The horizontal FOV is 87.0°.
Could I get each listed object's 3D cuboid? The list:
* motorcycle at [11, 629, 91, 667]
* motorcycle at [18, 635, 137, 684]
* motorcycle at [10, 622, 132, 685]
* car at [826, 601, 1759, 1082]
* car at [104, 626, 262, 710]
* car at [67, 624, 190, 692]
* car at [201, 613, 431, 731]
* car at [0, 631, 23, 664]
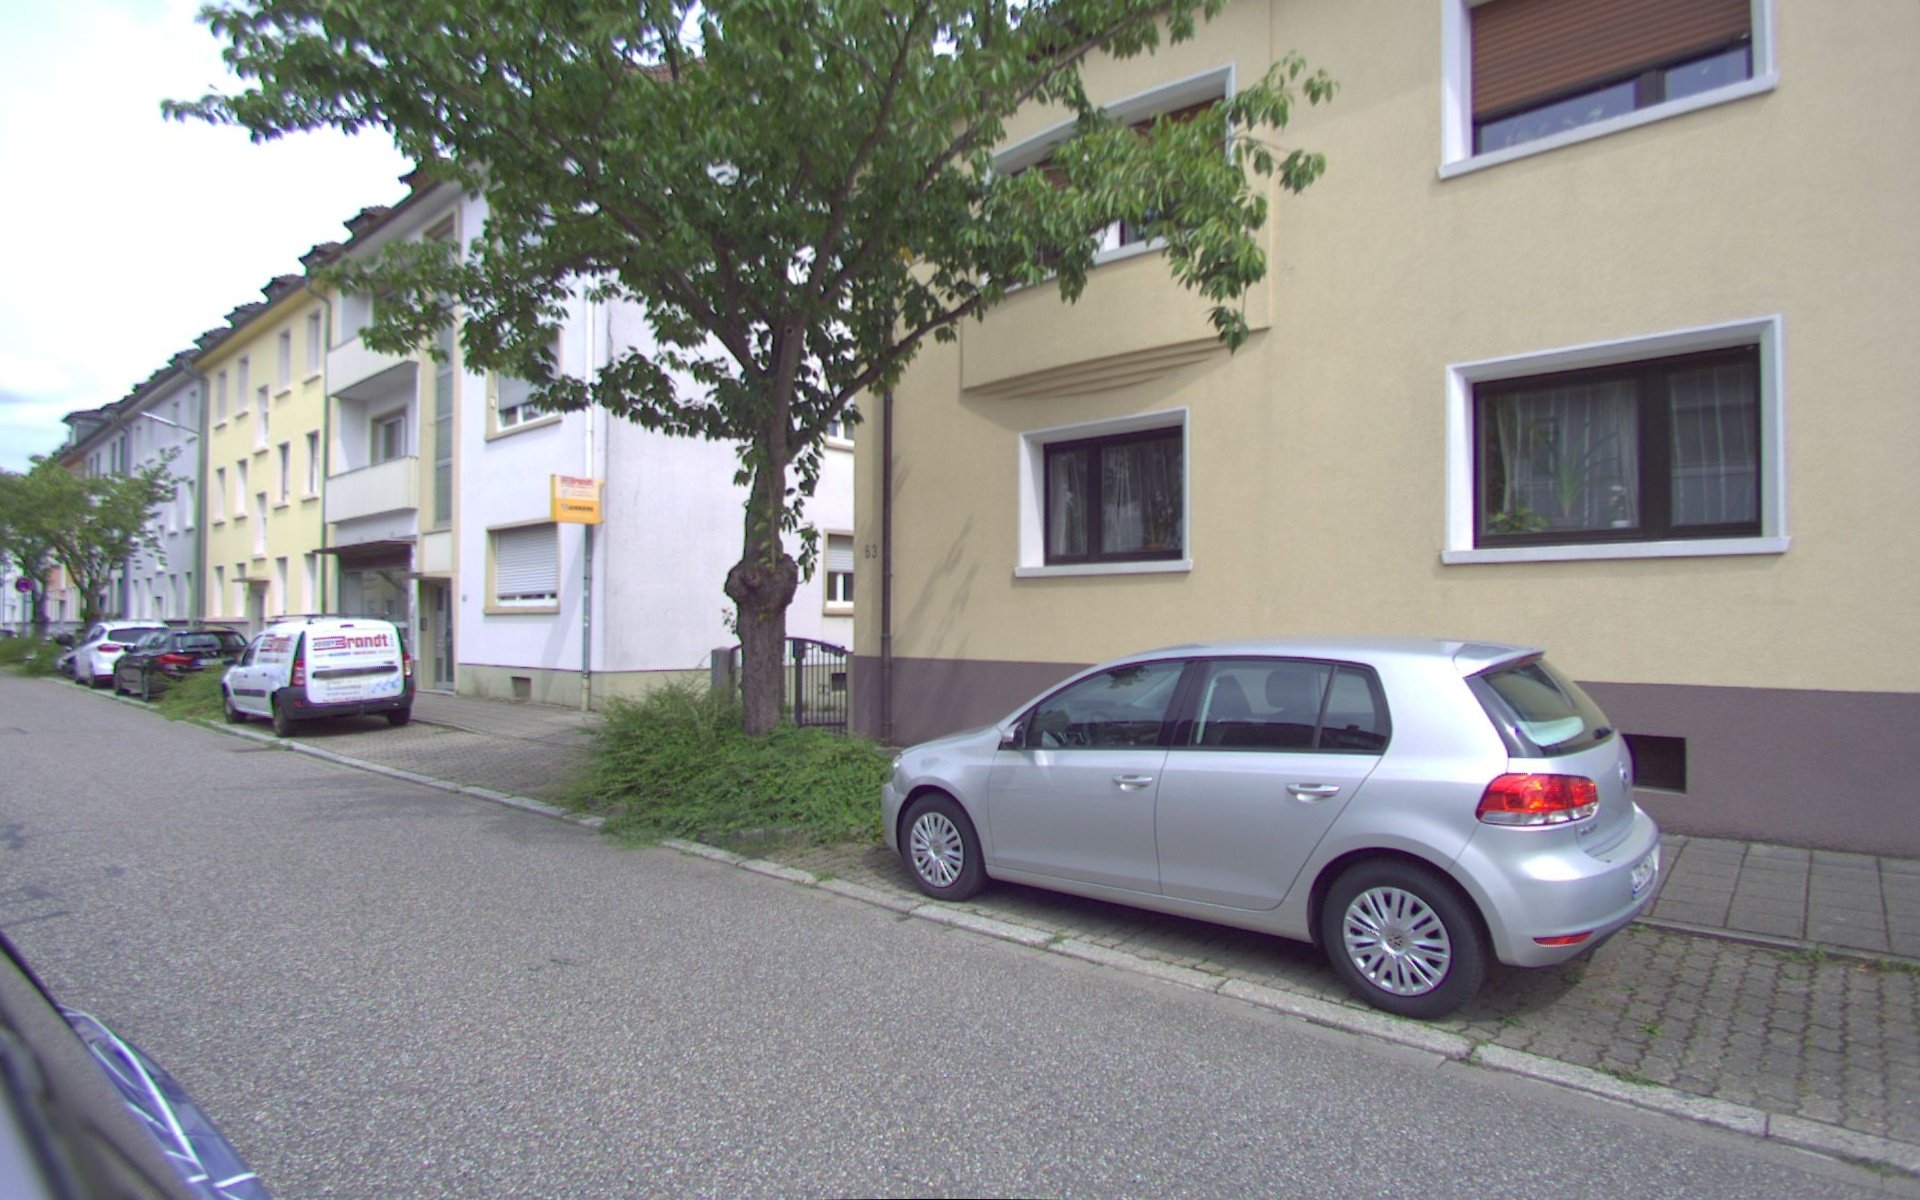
[{"bbox_3d":[-29.752,1.569,33.159,0.591,1.201,1.902,1,-3,15],"label":"motorcycle"},{"bbox_3d":[-25.134,1.694,28.887,2.414,1.321,0.645,3,-3,-22],"label":"motorcycle"},{"bbox_3d":[-24.424,1.460,27.836,2.438,1.689,0.939,0,-3,-1],"label":"motorcycle"},{"bbox_3d":[1.389,0.813,5.312,4.274,1.402,1.753,-1,3,43],"label":"car"},{"bbox_3d":[-16.211,1.321,21.014,4.811,1.503,1.771,-1,-1,42],"label":"car"},{"bbox_3d":[-20.994,1.411,25.496,4.254,1.568,1.738,-1,-3,42],"label":"car"},{"bbox_3d":[-10.158,1.063,15.833,4.381,1.593,1.898,-1,-4,42],"label":"car"},{"bbox_3d":[-46.465,2.286,48.471,4.117,1.495,1.818,-1,1,40],"label":"car"}]
